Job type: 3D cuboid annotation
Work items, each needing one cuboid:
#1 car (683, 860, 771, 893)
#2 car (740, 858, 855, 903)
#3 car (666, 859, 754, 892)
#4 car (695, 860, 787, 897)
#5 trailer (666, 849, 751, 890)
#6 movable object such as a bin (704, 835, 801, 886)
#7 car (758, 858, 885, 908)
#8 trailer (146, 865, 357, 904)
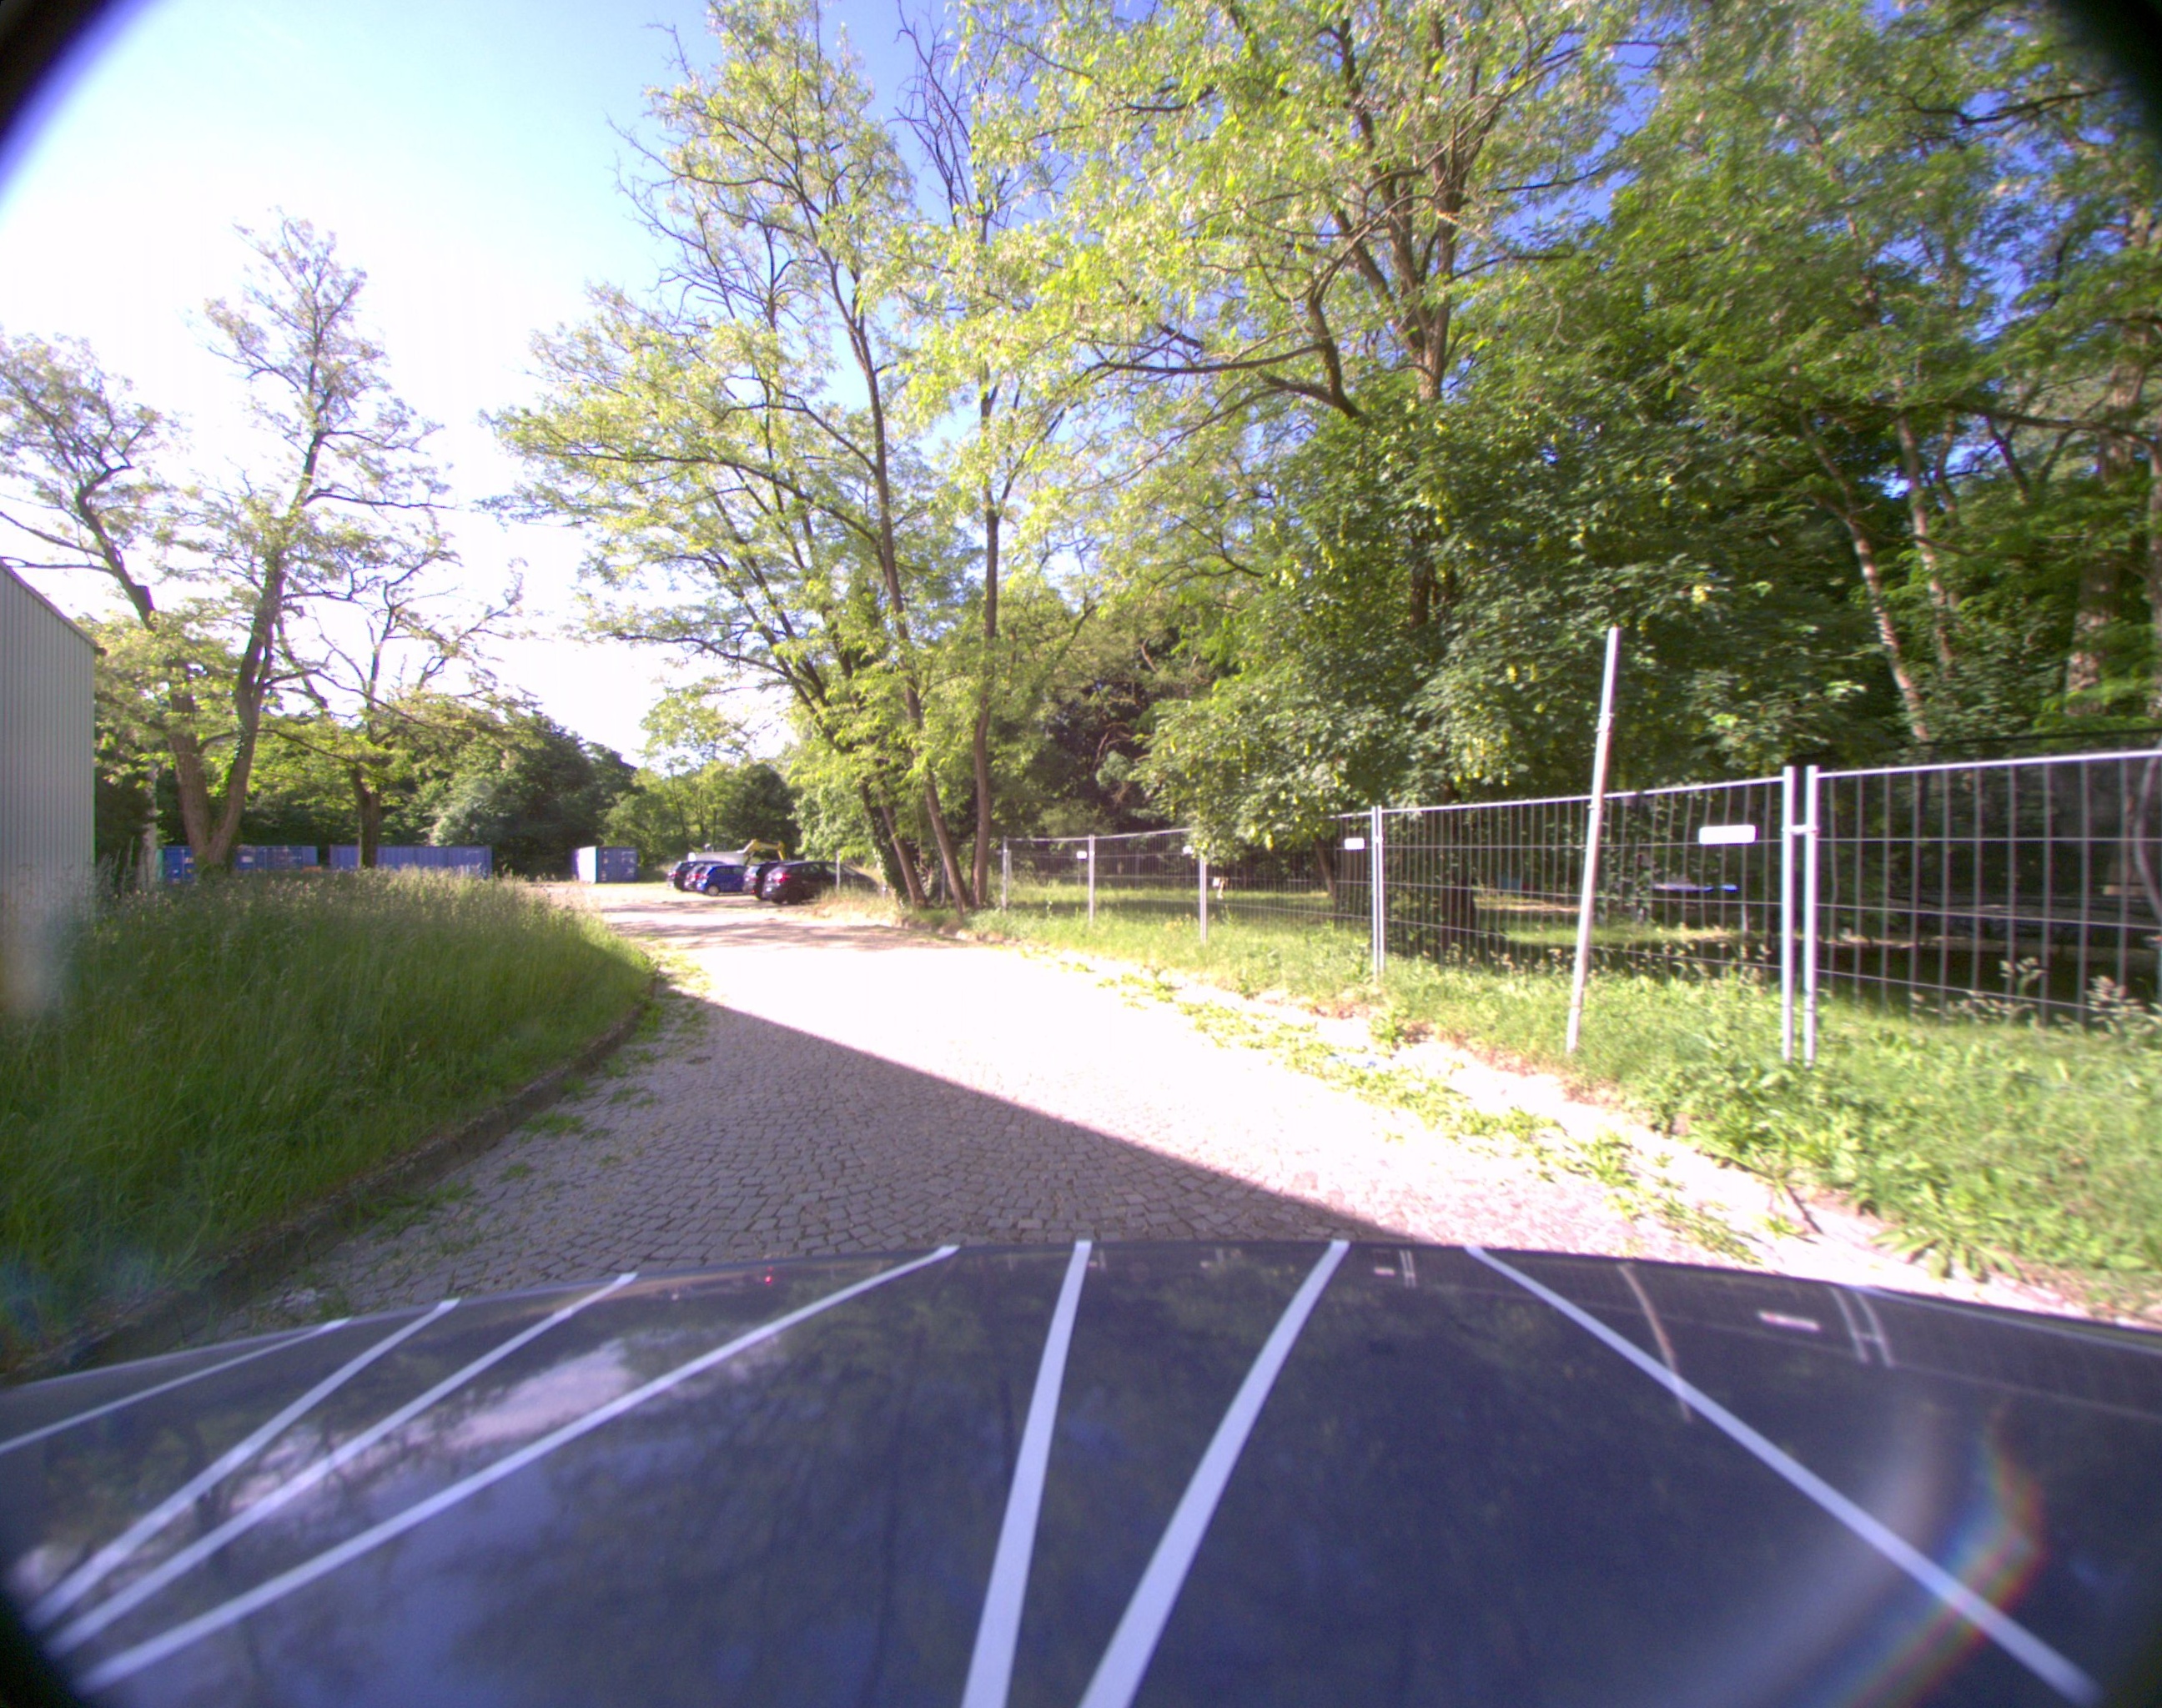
[{"bbox_3d":[-17.801,1.091,38.274,3.670,1.443,1.829,-2,2,-39],"label":"car"},{"bbox_3d":[-12.124,1.080,32.652,4.198,1.646,1.813,-2,1,-40],"label":"car"},{"bbox_3d":[-19.516,1.094,40.016,3.828,1.631,1.863,-1,0,-37],"label":"car"},{"bbox_3d":[-16.186,1.126,36.235,3.669,1.485,1.710,-3,2,-37],"label":"car"},{"bbox_3d":[-20.864,0.845,42.639,3.980,2.082,1.635,-2,1,-38],"label":"trailer"},{"bbox_3d":[-20.083,0.368,46.579,5.174,2.948,1.995,0,0,-34],"label":"movable object such as a bin"},{"bbox_3d":[-10.195,1.078,30.052,4.308,1.643,1.788,-3,2,-44],"label":"car"},{"bbox_3d":[-39.628,1.384,36.711,6.505,1.509,2.847,-1,2,-39],"label":"trailer"}]
